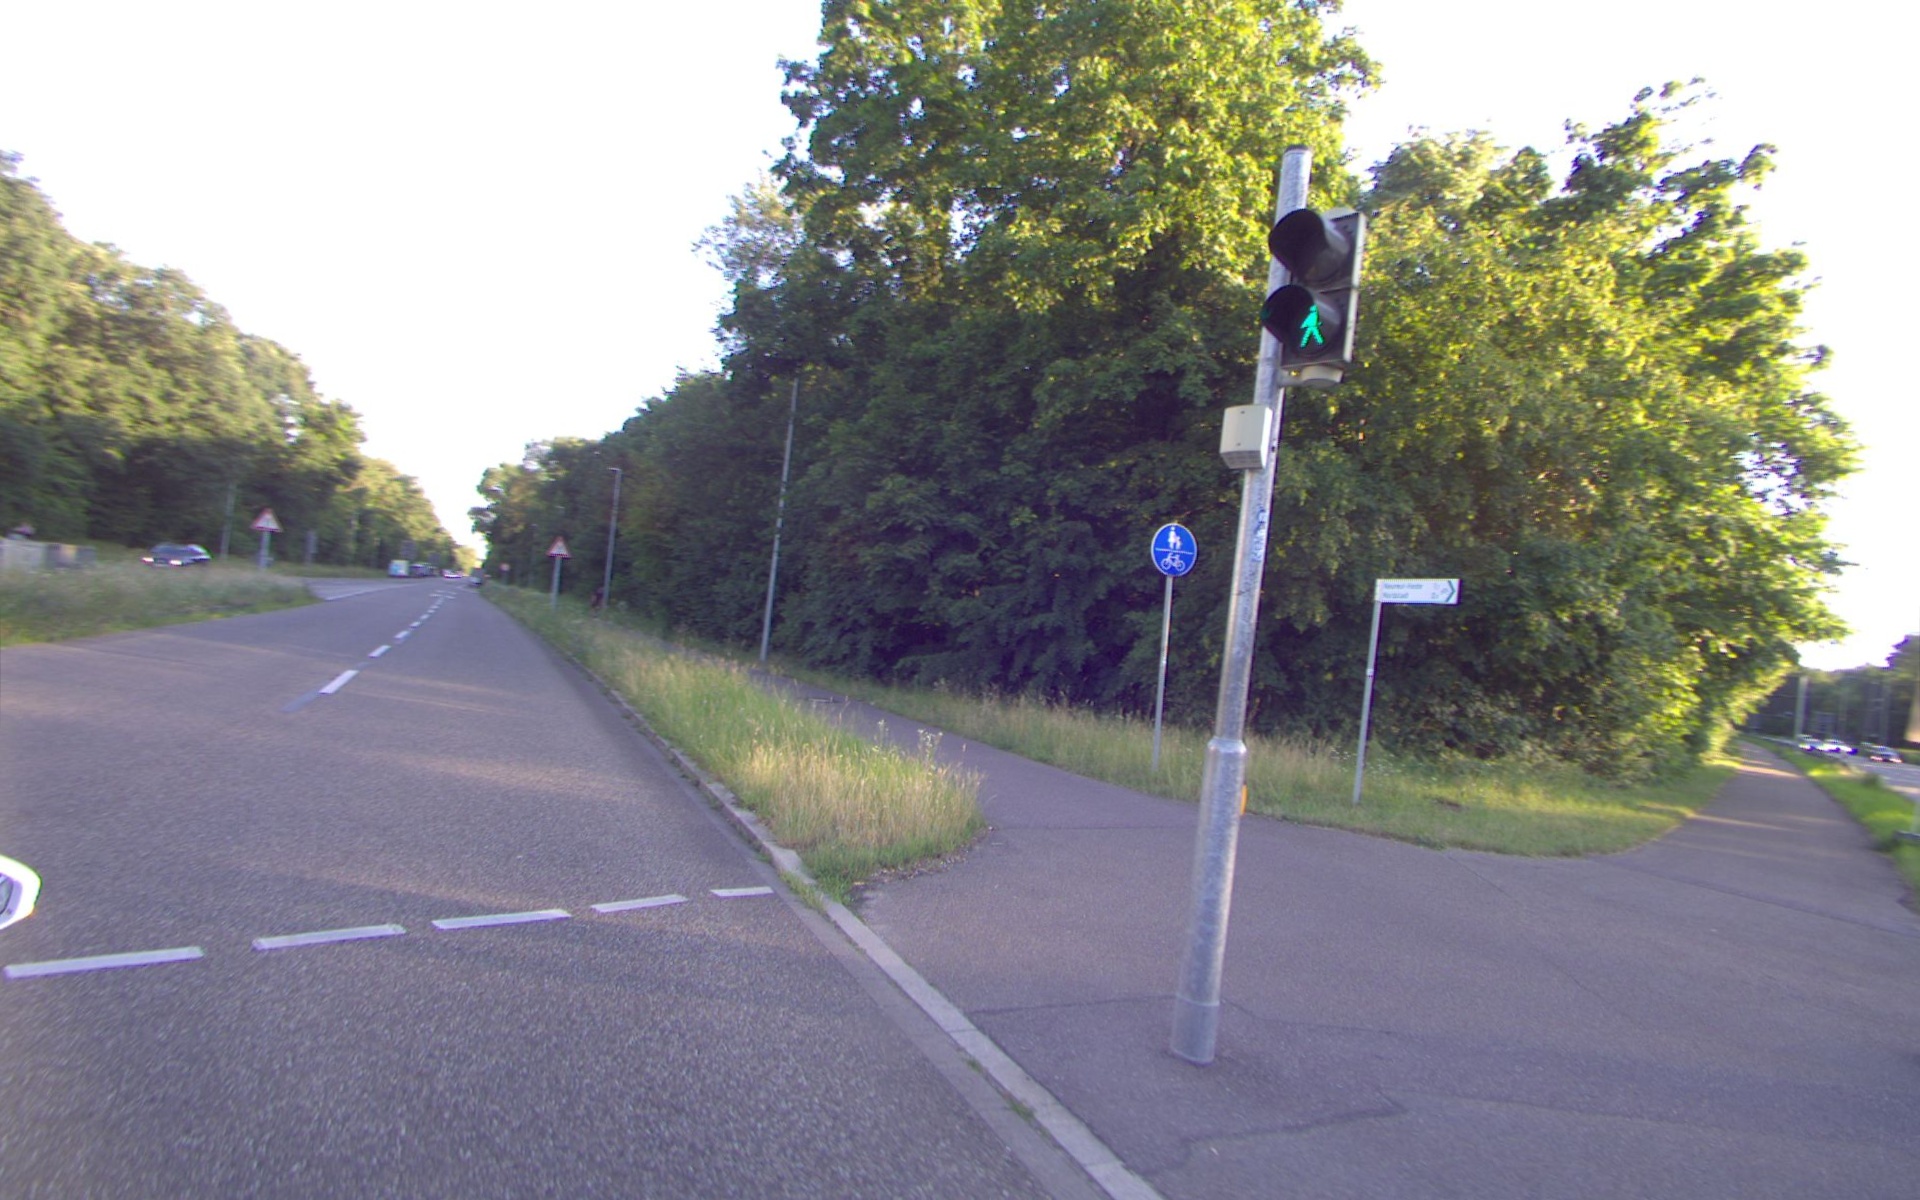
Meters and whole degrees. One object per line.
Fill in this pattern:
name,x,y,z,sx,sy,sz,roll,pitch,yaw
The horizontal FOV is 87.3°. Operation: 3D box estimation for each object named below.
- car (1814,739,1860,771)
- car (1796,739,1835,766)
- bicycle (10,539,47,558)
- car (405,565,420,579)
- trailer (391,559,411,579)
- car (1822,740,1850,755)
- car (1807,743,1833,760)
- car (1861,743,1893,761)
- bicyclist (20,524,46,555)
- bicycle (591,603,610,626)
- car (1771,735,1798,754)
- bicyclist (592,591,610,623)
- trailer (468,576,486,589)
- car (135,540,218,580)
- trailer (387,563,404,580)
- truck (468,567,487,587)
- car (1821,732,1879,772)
car,54.732,9.659,62.836,1.973,1.642,4.379,4,-3,40
car,61.337,10.904,72.145,1.973,1.642,4.379,4,-3,40
bicycle,-47.607,-2.628,51.425,0.579,0.814,1.952,6,-1,-18
car,-100.488,-5.115,184.773,1.974,2.394,5.731,4,-1,-26
trailer,-89.421,-4.875,161.044,2.304,2.960,5.592,5,-1,-26
car,102.794,17.308,118.083,1.717,1.303,3.739,6,-2,32
car,85.228,14.998,99.760,1.846,1.421,4.059,3,-4,40
car,84.933,14.056,93.196,1.846,1.421,4.061,3,-4,39
bicyclist,-47.293,-3.073,51.335,0.579,1.447,0.819,6,-1,-18
bicycle,-17.070,0.688,47.784,0.605,1.007,1.681,6,-2,-25
car,84.565,14.780,103.195,1.973,1.642,4.379,4,-3,40
bicyclist,-17.047,0.324,47.816,0.597,1.473,0.775,6,-1,-25
trailer,-72.876,-2.669,151.902,1.437,1.681,3.769,6,-1,-13
car,-36.370,-1.808,46.839,1.800,1.552,4.434,5,-1,-22
trailer,-82.553,-4.198,147.148,1.801,2.194,4.117,6,-1,-27
truck,-86.635,-4.108,180.839,2.565,3.291,7.182,8,-3,-24
car,44.455,7.581,50.334,1.973,1.642,4.379,4,-3,40
